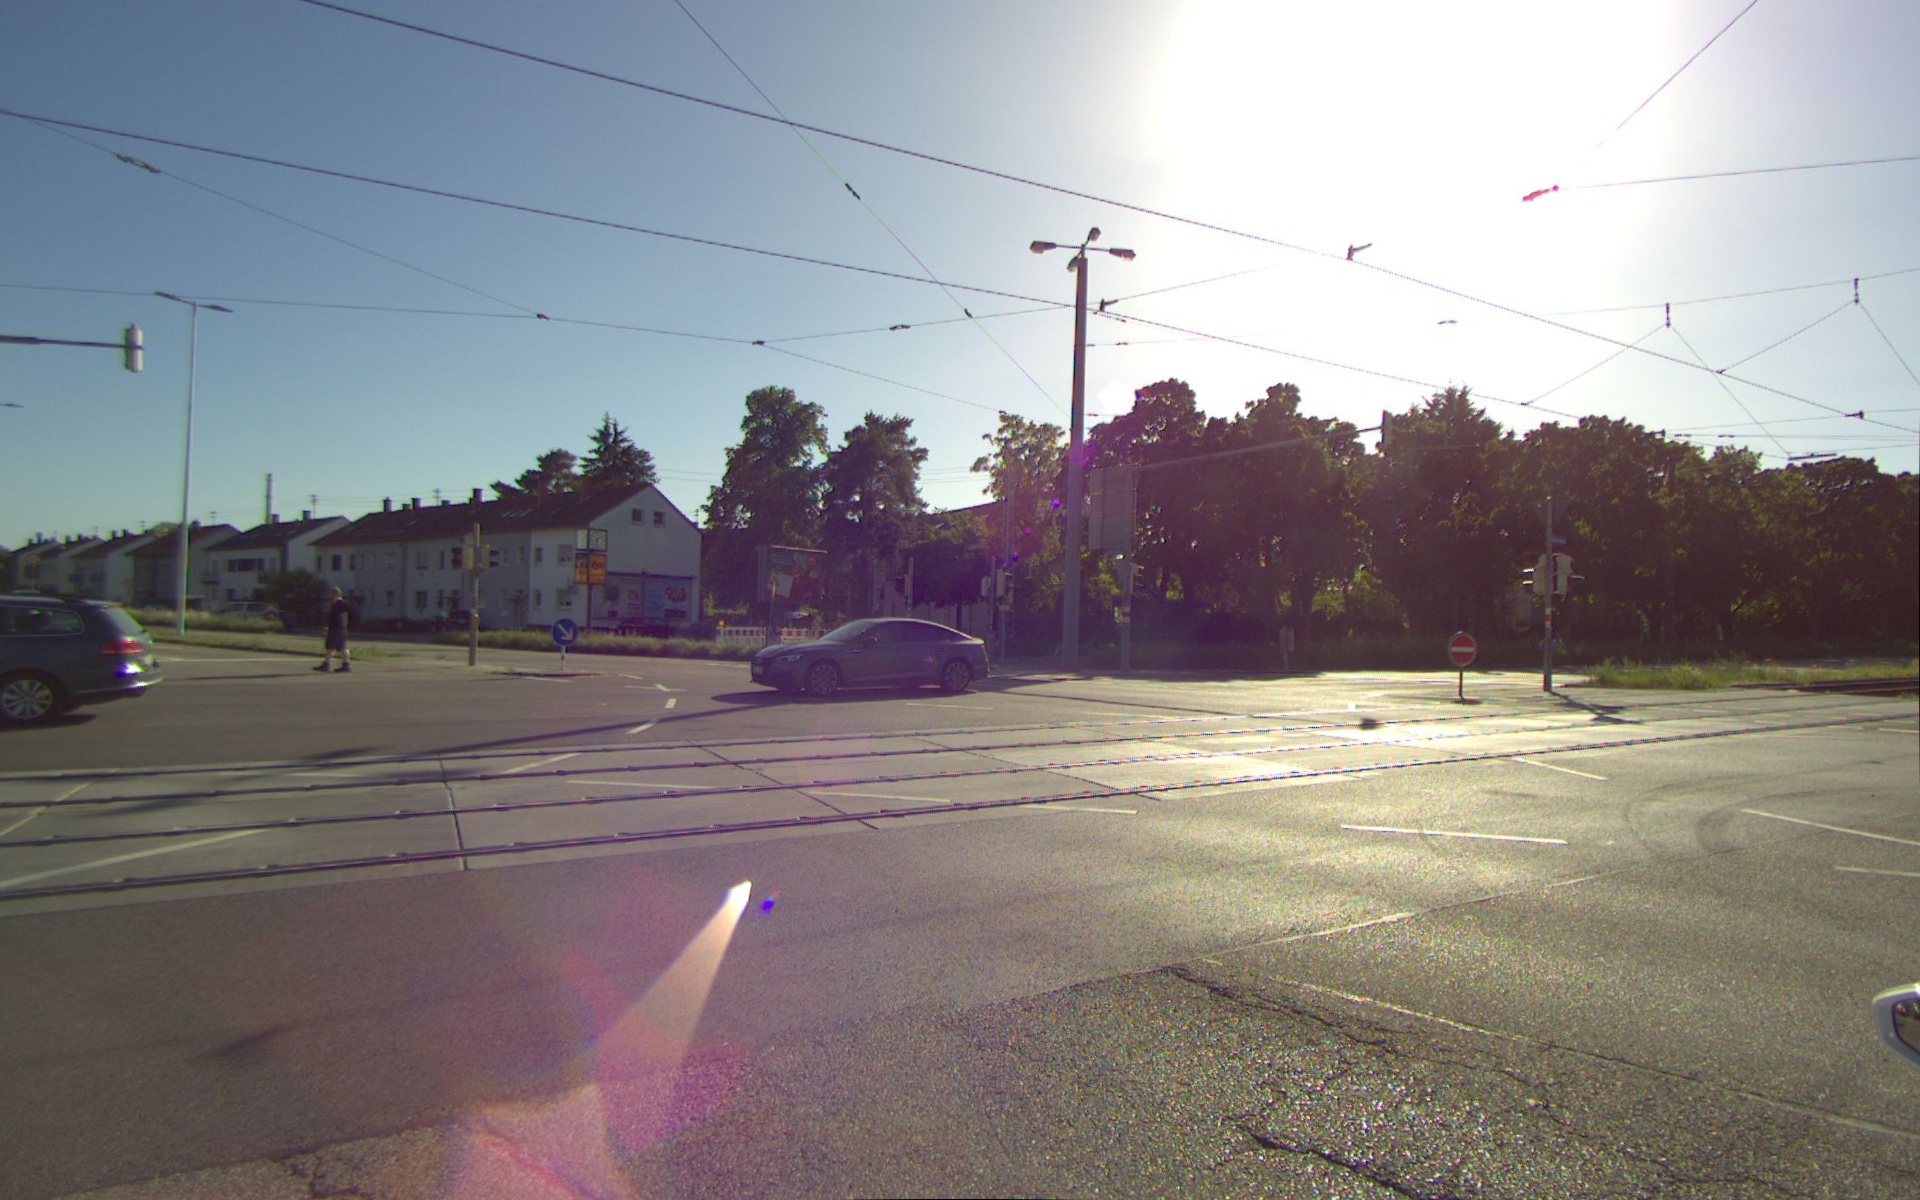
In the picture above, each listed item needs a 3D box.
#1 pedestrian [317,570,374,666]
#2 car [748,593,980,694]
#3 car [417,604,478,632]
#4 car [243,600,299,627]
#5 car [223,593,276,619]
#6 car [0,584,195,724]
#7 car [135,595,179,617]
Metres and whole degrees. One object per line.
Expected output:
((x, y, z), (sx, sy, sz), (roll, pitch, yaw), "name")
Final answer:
((-12.847, 0.372, 21.009), (0.599, 1.974, 0.776), (1, -1, 19), "pedestrian")
((-1.758, 0.807, 18.881), (3.959, 1.710, 1.781), (2, -1, -33), "car")
((-33.780, 1.187, 66.193), (3.935, 1.785, 1.993), (0, -1, 37), "car")
((-47.907, 0.959, 69.832), (3.935, 1.785, 1.993), (1, -1, 36), "car")
((-51.515, 0.453, 72.840), (3.935, 1.785, 1.993), (1, -1, 36), "car")
((-12.122, 0.599, 11.931), (4.642, 1.617, 1.803), (2, -1, -33), "car")
((-68.675, 0.540, 85.877), (3.935, 1.785, 1.993), (1, -1, 36), "car")
